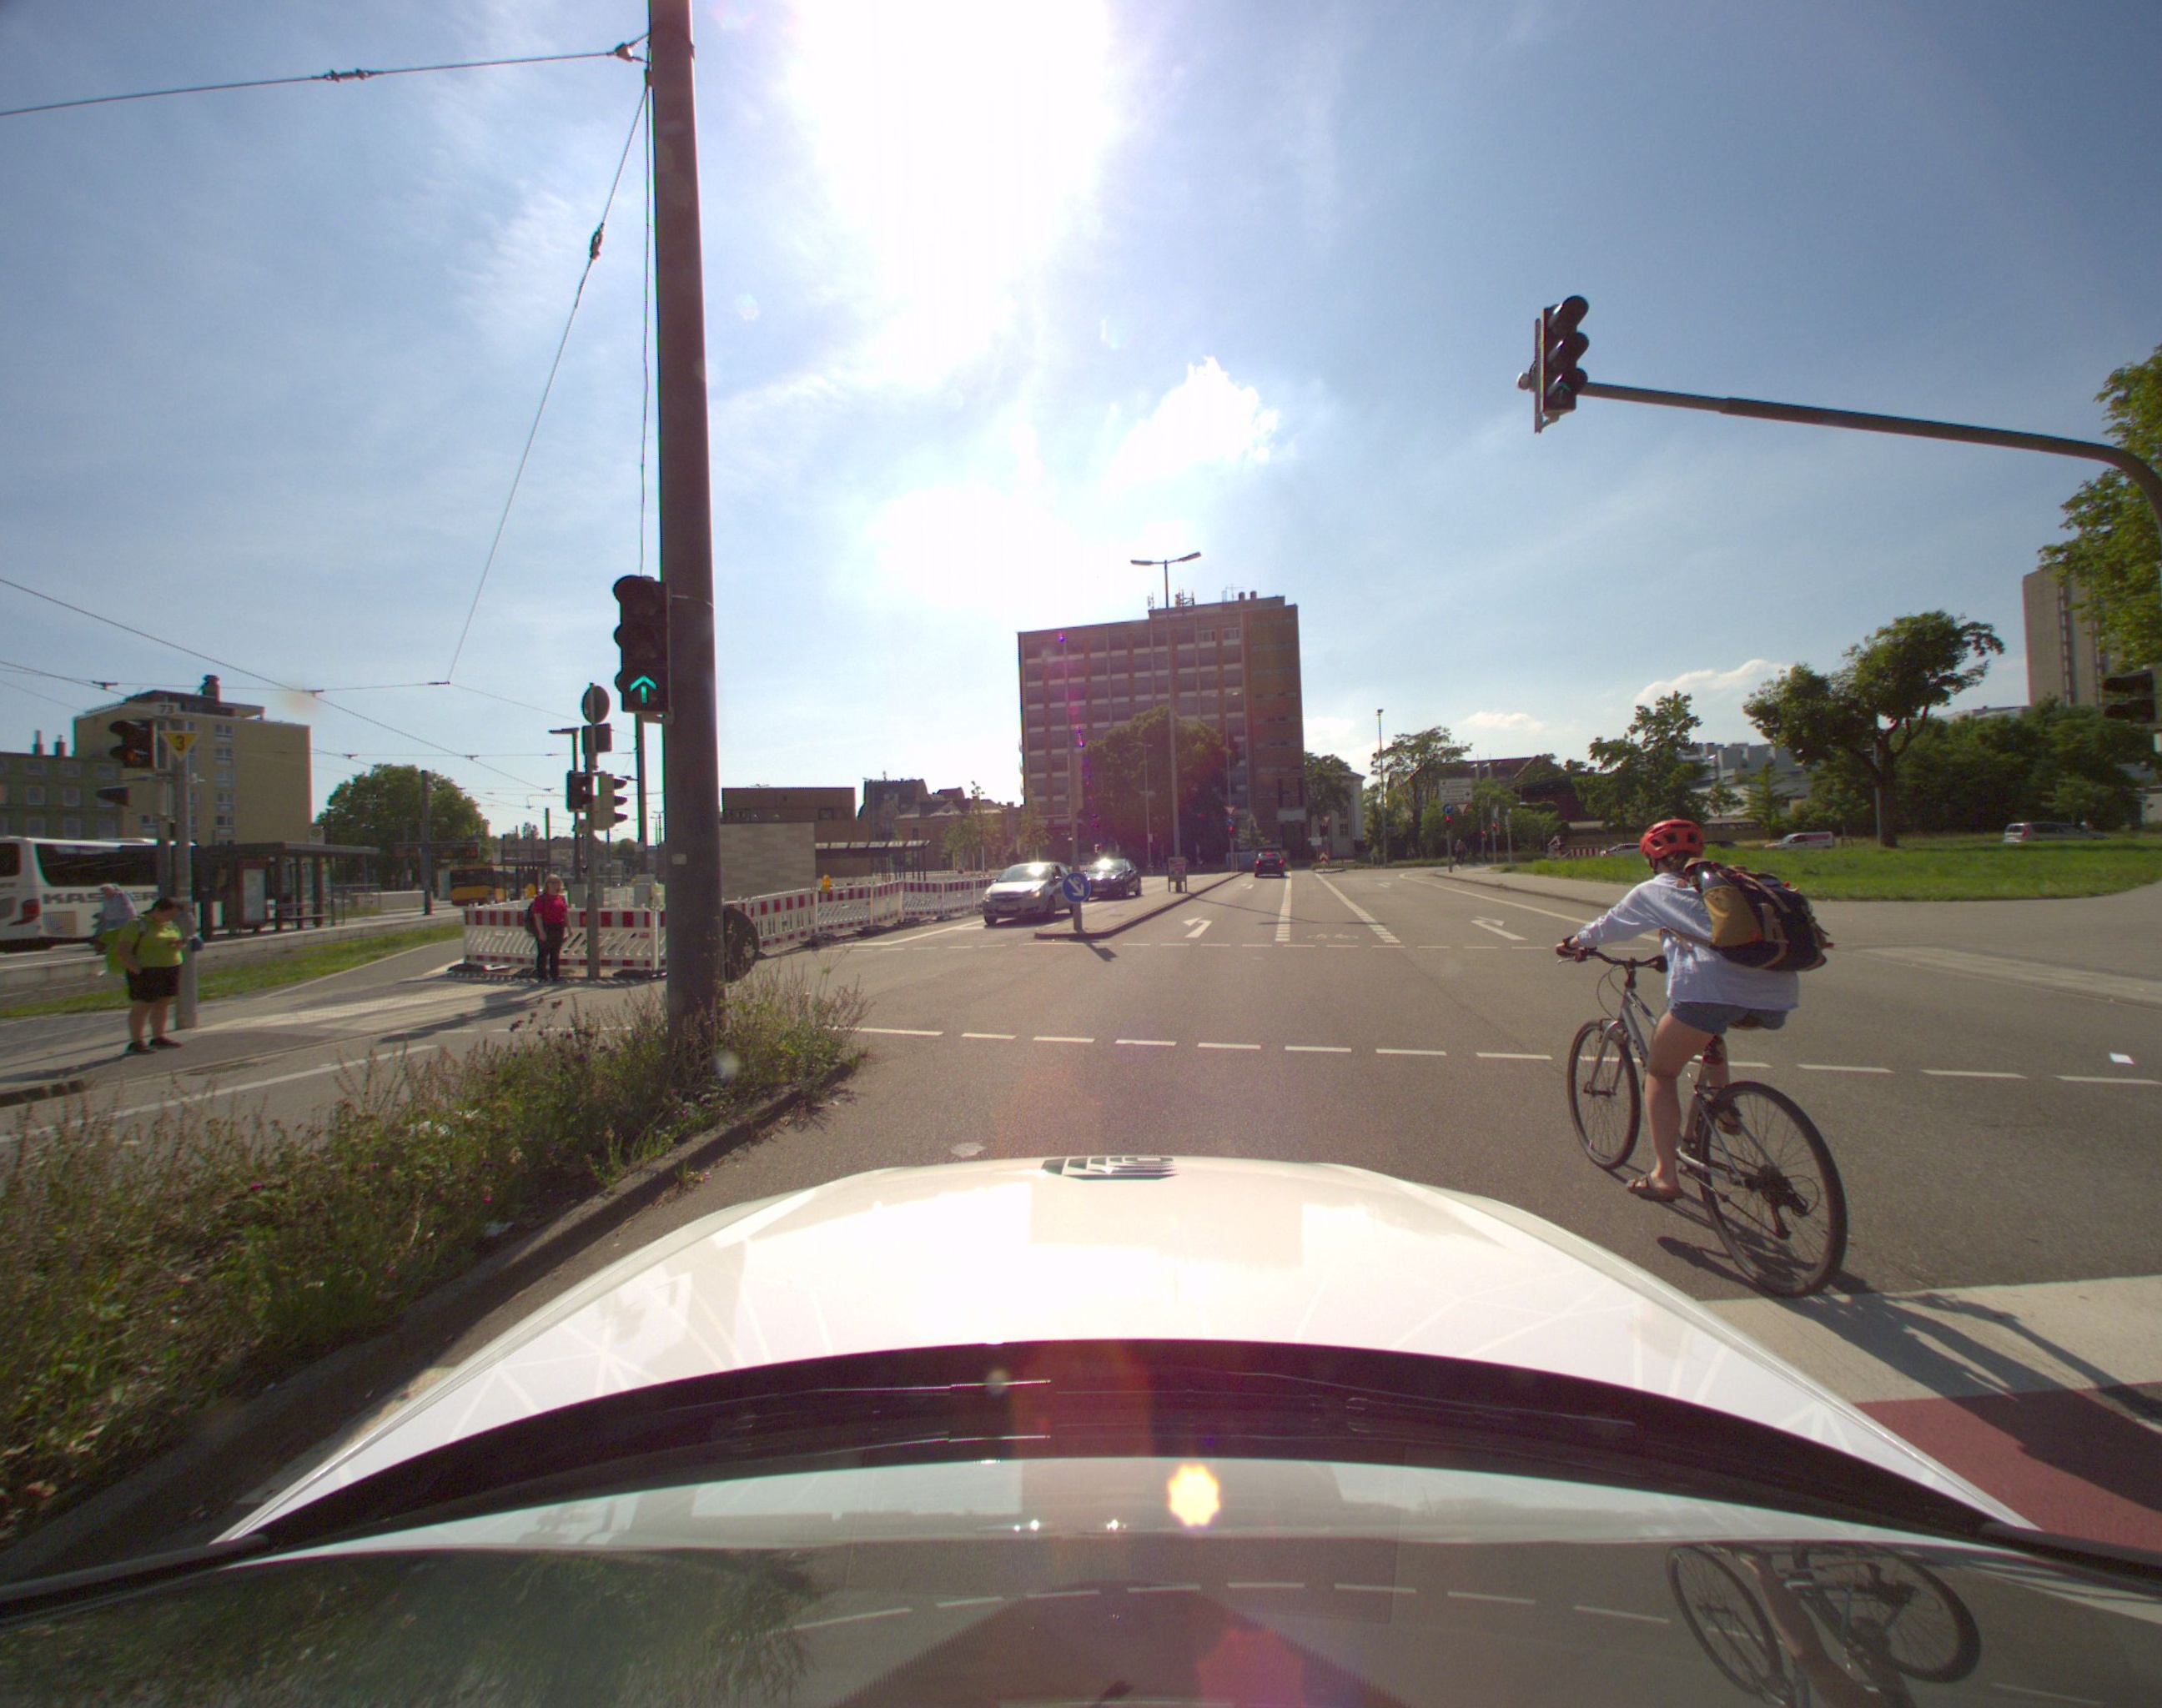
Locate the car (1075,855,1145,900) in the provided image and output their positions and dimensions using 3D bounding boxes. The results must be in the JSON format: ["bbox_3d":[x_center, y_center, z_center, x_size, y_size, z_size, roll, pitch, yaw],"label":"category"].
[{"bbox_3d":[1.143,0.819,29.967,1.654,1.451,3.833,-3,-1,15],"label":"car"}]

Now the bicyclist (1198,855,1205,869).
[{"bbox_3d":[12.702,0.863,85.711,0.615,1.443,0.923,-5,-1,10],"label":"bicyclist"}]

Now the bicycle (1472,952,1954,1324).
[{"bbox_3d":[2.474,1.017,3.580,0.594,0.931,2.029,-1,-1,2],"label":"bicycle"}]

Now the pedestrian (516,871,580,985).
[{"bbox_3d":[-7.894,1.081,12.080,0.347,1.616,0.689,-3,-1,16],"label":"pedestrian"}]

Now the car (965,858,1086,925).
[{"bbox_3d":[-1.290,0.885,20.782,1.780,1.412,4.016,-4,-1,15],"label":"car"}]

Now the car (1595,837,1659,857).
[{"bbox_3d":[45.667,-0.555,68.143,3.958,1.464,2.007,-3,-2,14],"label":"car"}]

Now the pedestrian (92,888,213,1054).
[{"bbox_3d":[-9.189,1.129,8.084,0.669,1.543,0.420,0,0,-27],"label":"pedestrian"}]

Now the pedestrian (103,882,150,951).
[{"bbox_3d":[-23.392,1.505,19.976,0.578,1.615,0.694,-2,0,42],"label":"pedestrian"}]

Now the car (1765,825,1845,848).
[{"bbox_3d":[57.299,-1.352,64.553,4.279,1.569,1.917,-3,-1,14],"label":"car"}]

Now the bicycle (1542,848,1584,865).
[{"bbox_3d":[28.982,0.172,49.003,0.676,0.916,2.149,-2,-1,-28],"label":"bicycle"}]

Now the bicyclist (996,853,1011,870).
[{"bbox_3d":[-6.866,0.641,72.078,1.154,1.474,0.567,-3,-1,27],"label":"bicyclist"}]

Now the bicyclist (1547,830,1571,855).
[{"bbox_3d":[28.842,-0.665,49.139,0.497,1.470,1.132,0,-1,-27],"label":"bicyclist"}]

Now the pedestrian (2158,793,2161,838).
[{"bbox_3d":[10.666,0.333,7.369,0.650,1.874,0.795,-4,-1,-4],"label":"pedestrian"}]

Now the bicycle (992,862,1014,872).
[{"bbox_3d":[-6.917,1.148,72.105,1.872,0.792,0.564,-3,1,27],"label":"bicycle"}]

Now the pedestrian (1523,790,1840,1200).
[{"bbox_3d":[2.441,0.513,3.449,0.581,1.466,1.014,-1,-1,2],"label":"pedestrian"}]

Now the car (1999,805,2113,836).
[{"bbox_3d":[56.576,-1.919,47.338,3.958,1.508,1.759,-3,-1,14],"label":"car"}]

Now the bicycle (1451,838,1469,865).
[{"bbox_3d":[25.283,-0.167,54.342,0.673,1.765,1.818,-3,-1,15],"label":"bicycle"}]

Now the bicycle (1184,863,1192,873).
[{"bbox_3d":[11.626,1.547,88.552,0.699,0.977,2.038,-3,-1,13],"label":"bicycle"}]

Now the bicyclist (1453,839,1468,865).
[{"bbox_3d":[25.311,-0.127,54.378,0.673,1.655,0.922,-3,-1,14],"label":"bicyclist"}]

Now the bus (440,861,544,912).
[{"bbox_3d":[-43.351,2.332,60.526,2.863,3.281,12.571,-2,-1,-20],"label":"bus"}]

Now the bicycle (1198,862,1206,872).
[{"bbox_3d":[12.743,1.364,85.699,0.615,0.961,1.973,-5,-1,10],"label":"bicycle"}]

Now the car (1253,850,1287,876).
[{"bbox_3d":[11.215,0.497,48.160,1.766,1.443,3.833,-1,0,15],"label":"car"}]

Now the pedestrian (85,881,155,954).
[{"bbox_3d":[-22.559,1.471,19.125,0.793,1.615,0.658,-2,0,-18],"label":"pedestrian"}]

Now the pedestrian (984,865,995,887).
[{"bbox_3d":[-6.372,1.559,56.761,0.629,1.491,0.616,-3,-1,-2],"label":"pedestrian"}]

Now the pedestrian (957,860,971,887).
[{"bbox_3d":[-7.923,1.334,55.353,0.734,1.752,1.110,-3,-3,-2],"label":"pedestrian"}]

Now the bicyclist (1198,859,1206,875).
[{"bbox_3d":[12.743,1.364,85.699,0.615,1.582,1.016,-5,-1,10],"label":"bicyclist"}]

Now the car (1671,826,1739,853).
[{"bbox_3d":[51.197,-1.167,66.888,3.956,2.013,2.009,-3,-1,16],"label":"car"}]

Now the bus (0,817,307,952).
[{"bbox_3d":[-30.776,0.958,26.773,2.863,3.489,12.571,-2,0,-20],"label":"bus"}]

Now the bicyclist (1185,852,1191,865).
[{"bbox_3d":[11.642,0.490,88.577,0.535,1.417,1.033,-4,-2,13],"label":"bicyclist"}]
